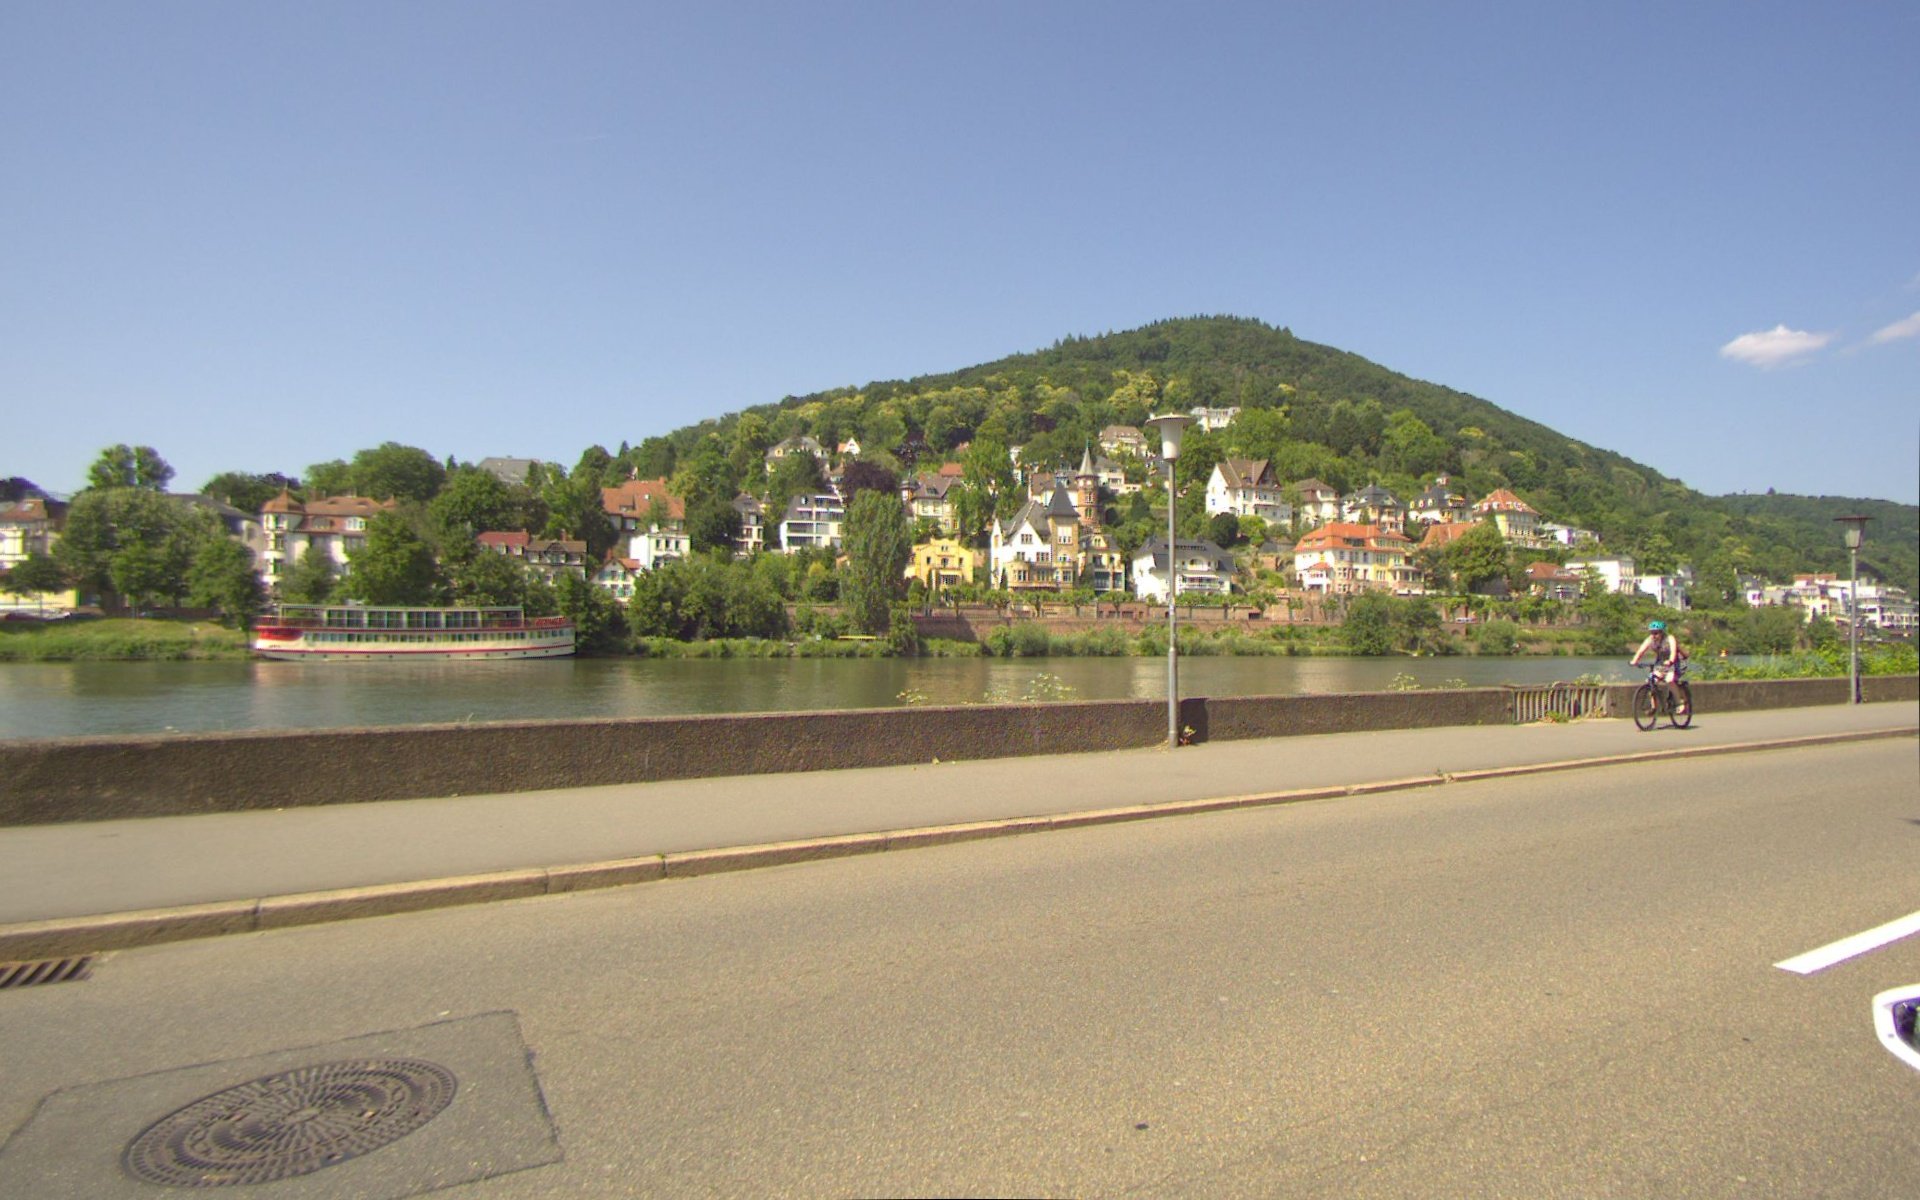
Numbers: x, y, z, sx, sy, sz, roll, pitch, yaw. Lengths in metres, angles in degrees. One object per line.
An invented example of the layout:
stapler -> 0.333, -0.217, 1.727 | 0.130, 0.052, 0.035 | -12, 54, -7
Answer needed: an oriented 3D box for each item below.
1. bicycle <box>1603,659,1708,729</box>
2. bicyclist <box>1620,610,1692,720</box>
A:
bicycle -> 11.070, 1.469, 15.966 | 1.963, 1.025, 0.629 | 1, -2, -31
bicyclist -> 11.057, 1.023, 15.972 | 0.861, 1.695, 0.634 | 1, -2, -31
